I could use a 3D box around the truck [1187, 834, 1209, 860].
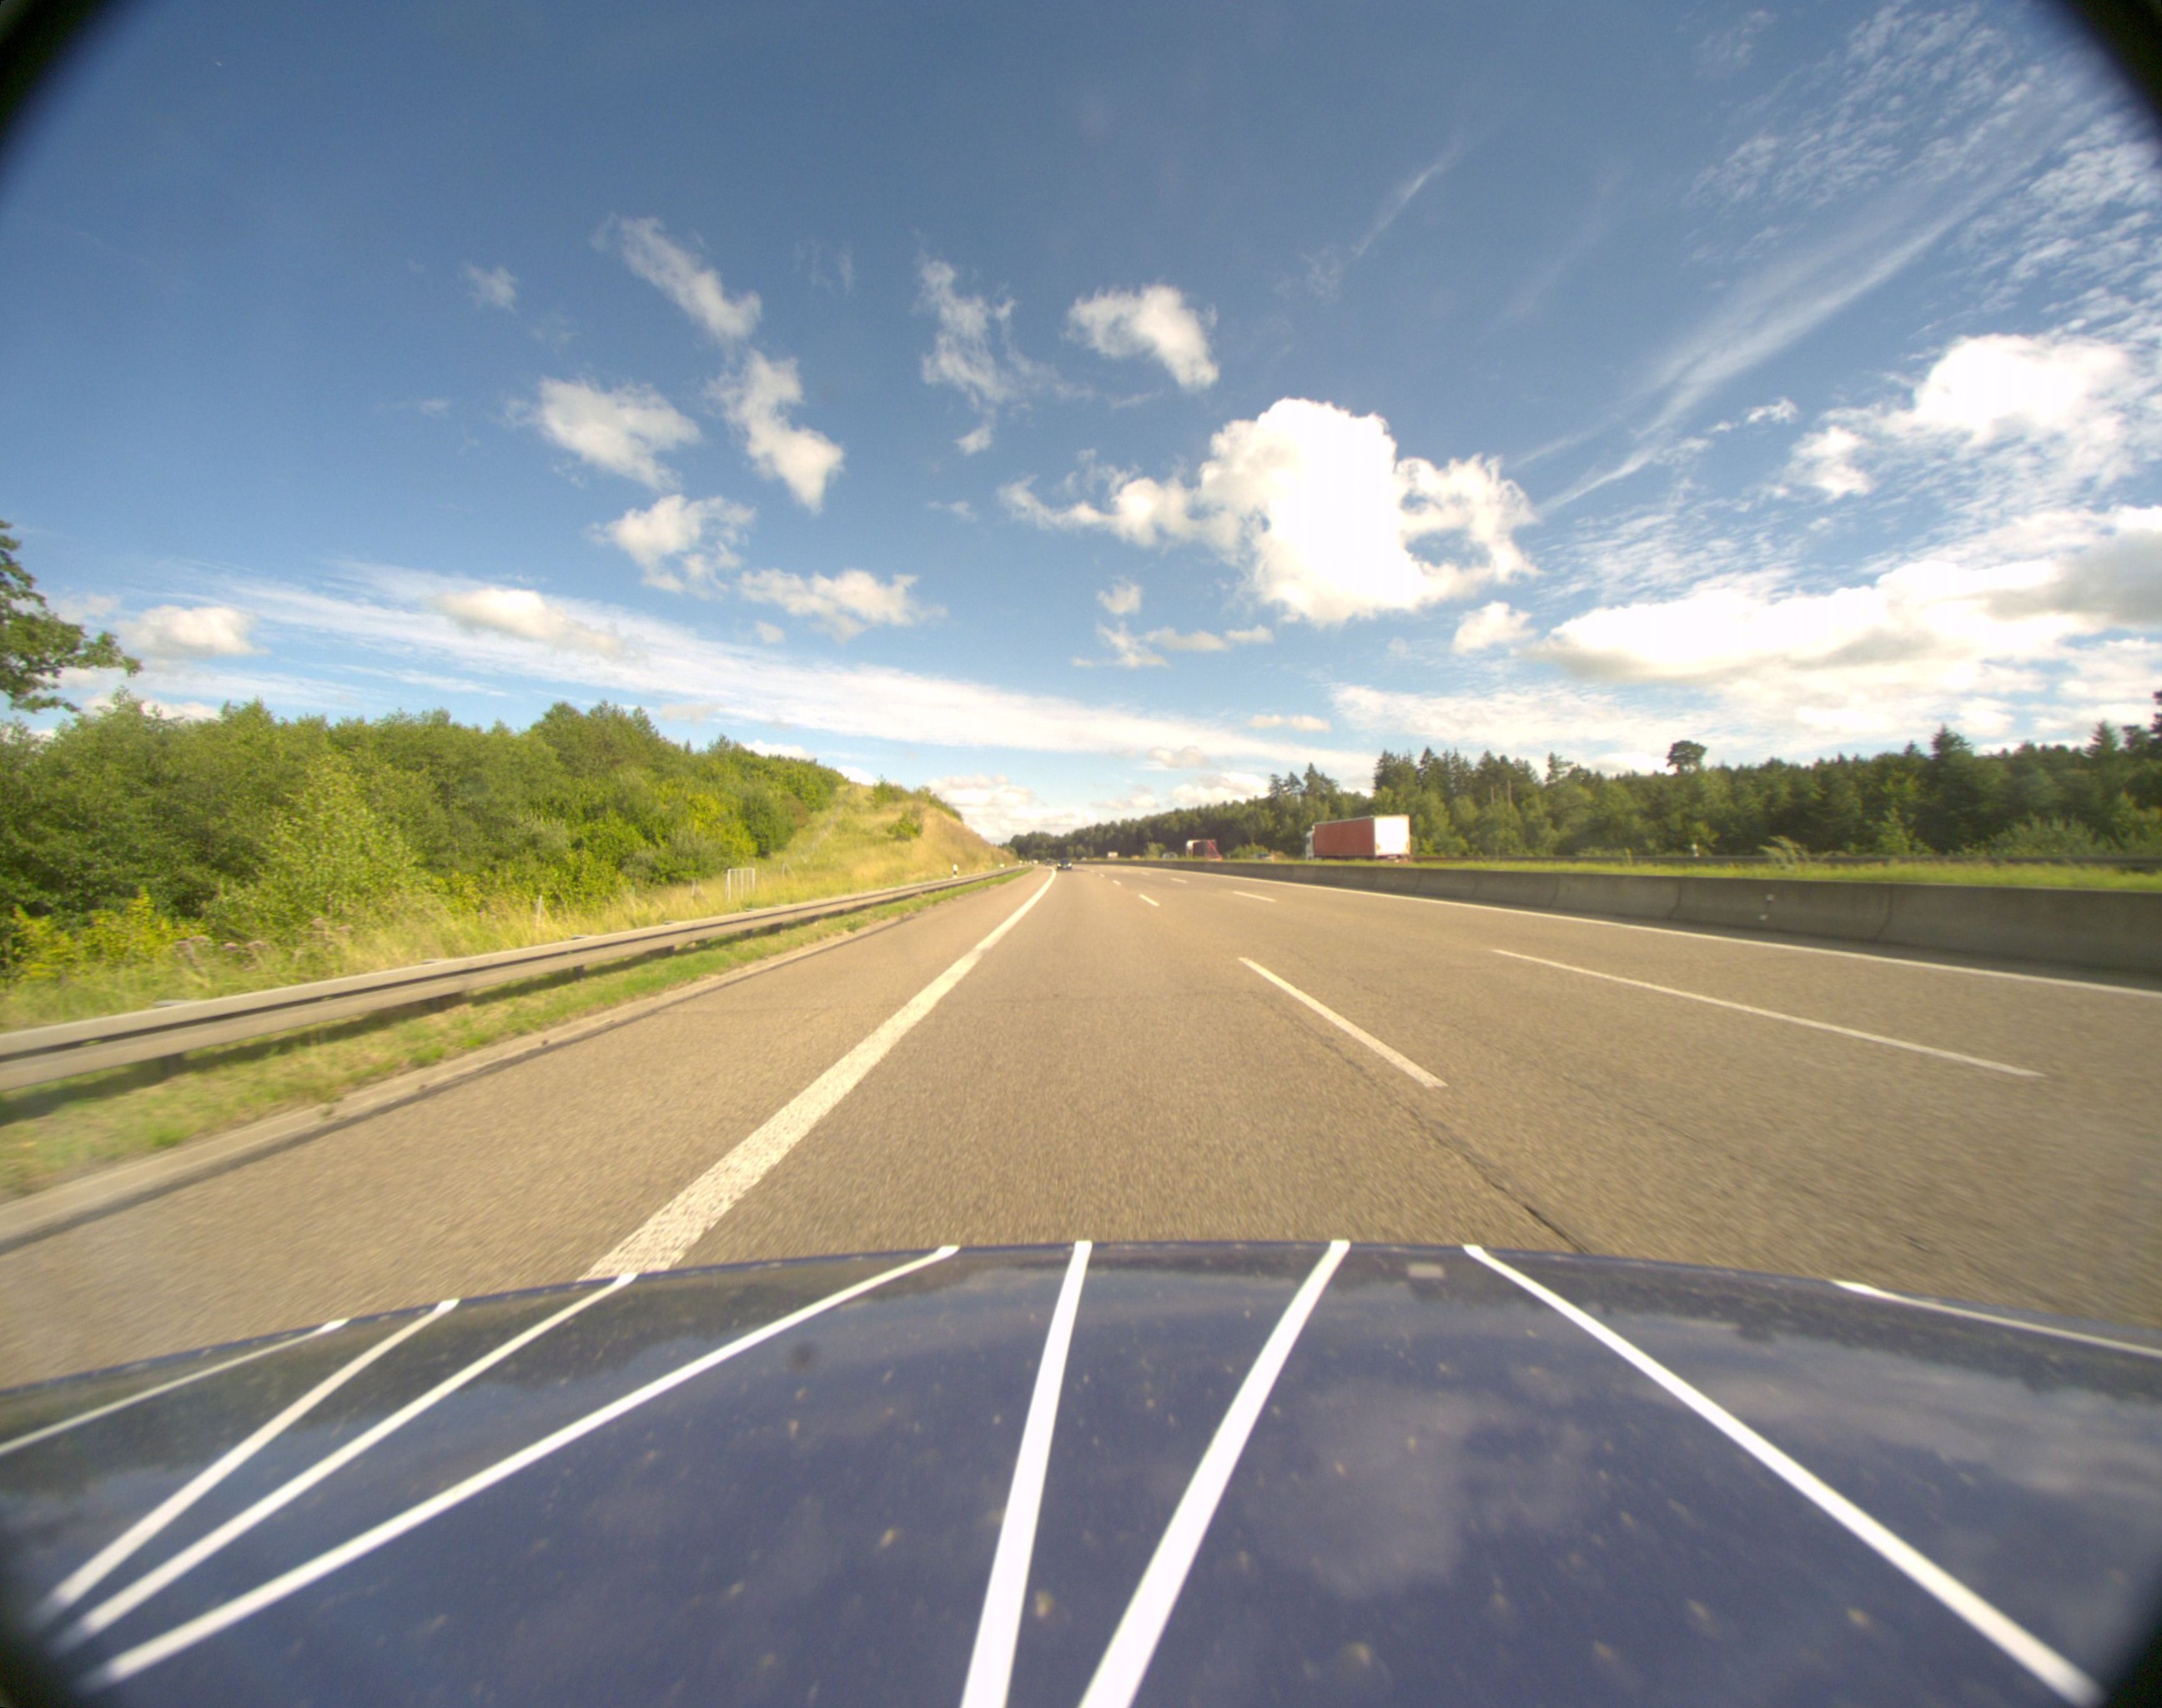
[{"bbox_3d":[20.428,-1.175,133.007,2.810,4.366,5.463,-2,0,-2],"label":"truck"}]

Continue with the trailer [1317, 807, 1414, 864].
[{"bbox_3d":[22.952,-1.354,62.279,3.029,4.085,12.790,-2,0,0],"label":"trailer"}]

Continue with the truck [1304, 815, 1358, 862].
[{"bbox_3d":[22.932,-1.386,69.957,3.032,4.085,5.668,-2,0,0],"label":"truck"}]

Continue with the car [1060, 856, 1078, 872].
[{"bbox_3d":[-1.544,1.278,96.557,1.999,1.827,3.998,-2,1,-3],"label":"car"}]

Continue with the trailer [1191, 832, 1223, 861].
[{"bbox_3d":[20.672,-1.186,125.328,2.810,4.366,12.047,-2,0,-2],"label":"trailer"}]

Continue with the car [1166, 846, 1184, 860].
[{"bbox_3d":[13.965,-0.202,113.134,1.999,2.002,4.352,-2,0,-1],"label":"car"}]

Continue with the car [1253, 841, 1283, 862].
[{"bbox_3d":[19.139,-0.237,77.822,1.998,2.002,4.000,-2,0,0],"label":"car"}]

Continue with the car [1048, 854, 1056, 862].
[{"bbox_3d":[-7.592,1.099,198.695,1.999,2.002,3.998,-3,1,-6],"label":"car"}]
